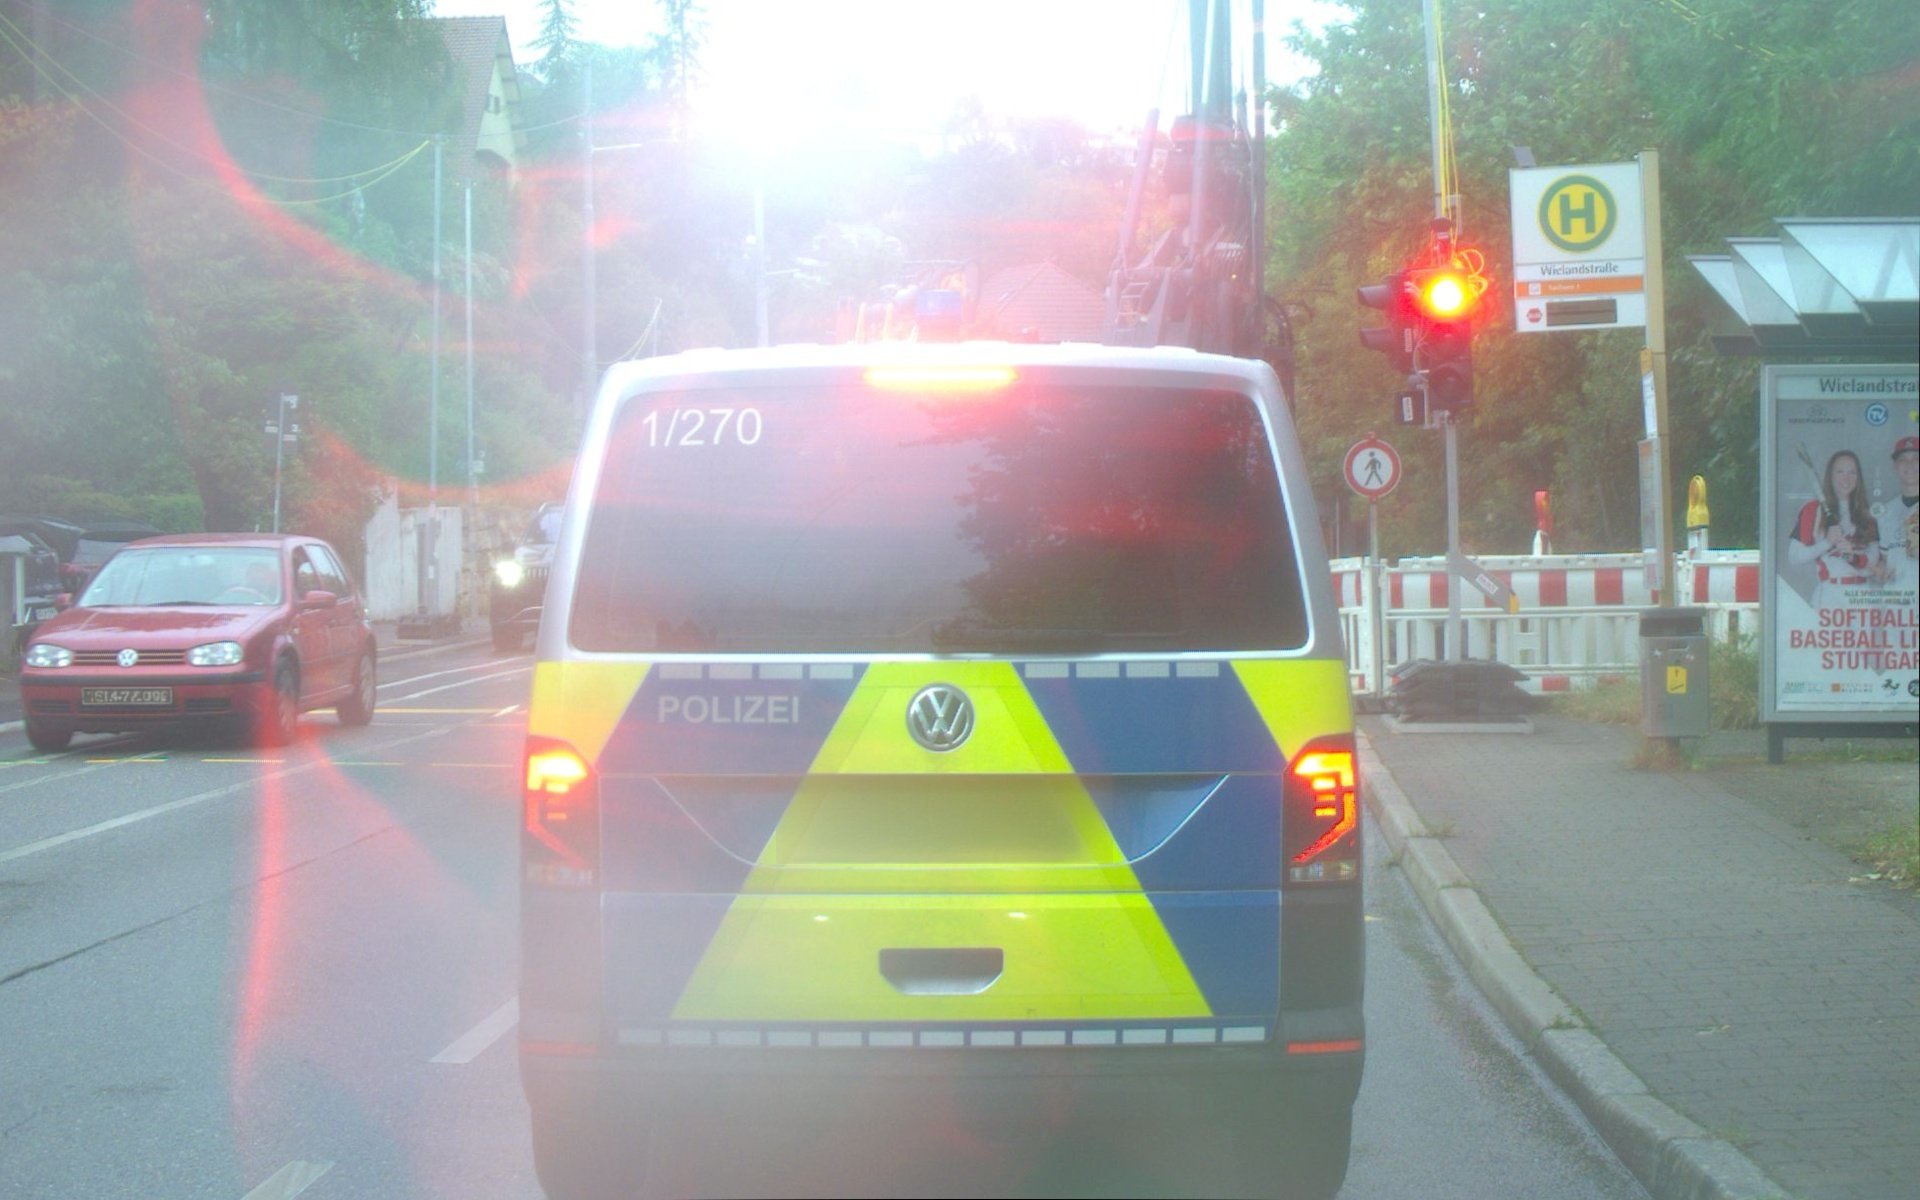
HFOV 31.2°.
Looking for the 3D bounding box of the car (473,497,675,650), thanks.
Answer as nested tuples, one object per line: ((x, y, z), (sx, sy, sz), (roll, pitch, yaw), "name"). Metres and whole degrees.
((-4.654, -0.369, 42.035), (1.979, 1.742, 4.554), (1, 1, 0), "car")

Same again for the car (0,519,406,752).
((-5.217, 0.177, 23.862), (1.764, 1.458, 3.885), (1, 1, 6), "car")

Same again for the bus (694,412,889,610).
((-3.296, -1.802, 70.726), (2.841, 3.705, 12.005), (1, 1, 3), "bus")

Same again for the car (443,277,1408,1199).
((-0.094, 0.354, 8.831), (1.893, 2.043, 4.000), (1, 1, -1), "car")

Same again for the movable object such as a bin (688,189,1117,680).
((-0.421, -1.464, 31.630), (2.832, 4.163, 4.378), (1, 1, 15), "movable object such as a bin")

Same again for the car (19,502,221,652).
((-9.324, -0.284, 37.974), (1.765, 1.481, 3.743), (1, 3, -20), "car")
